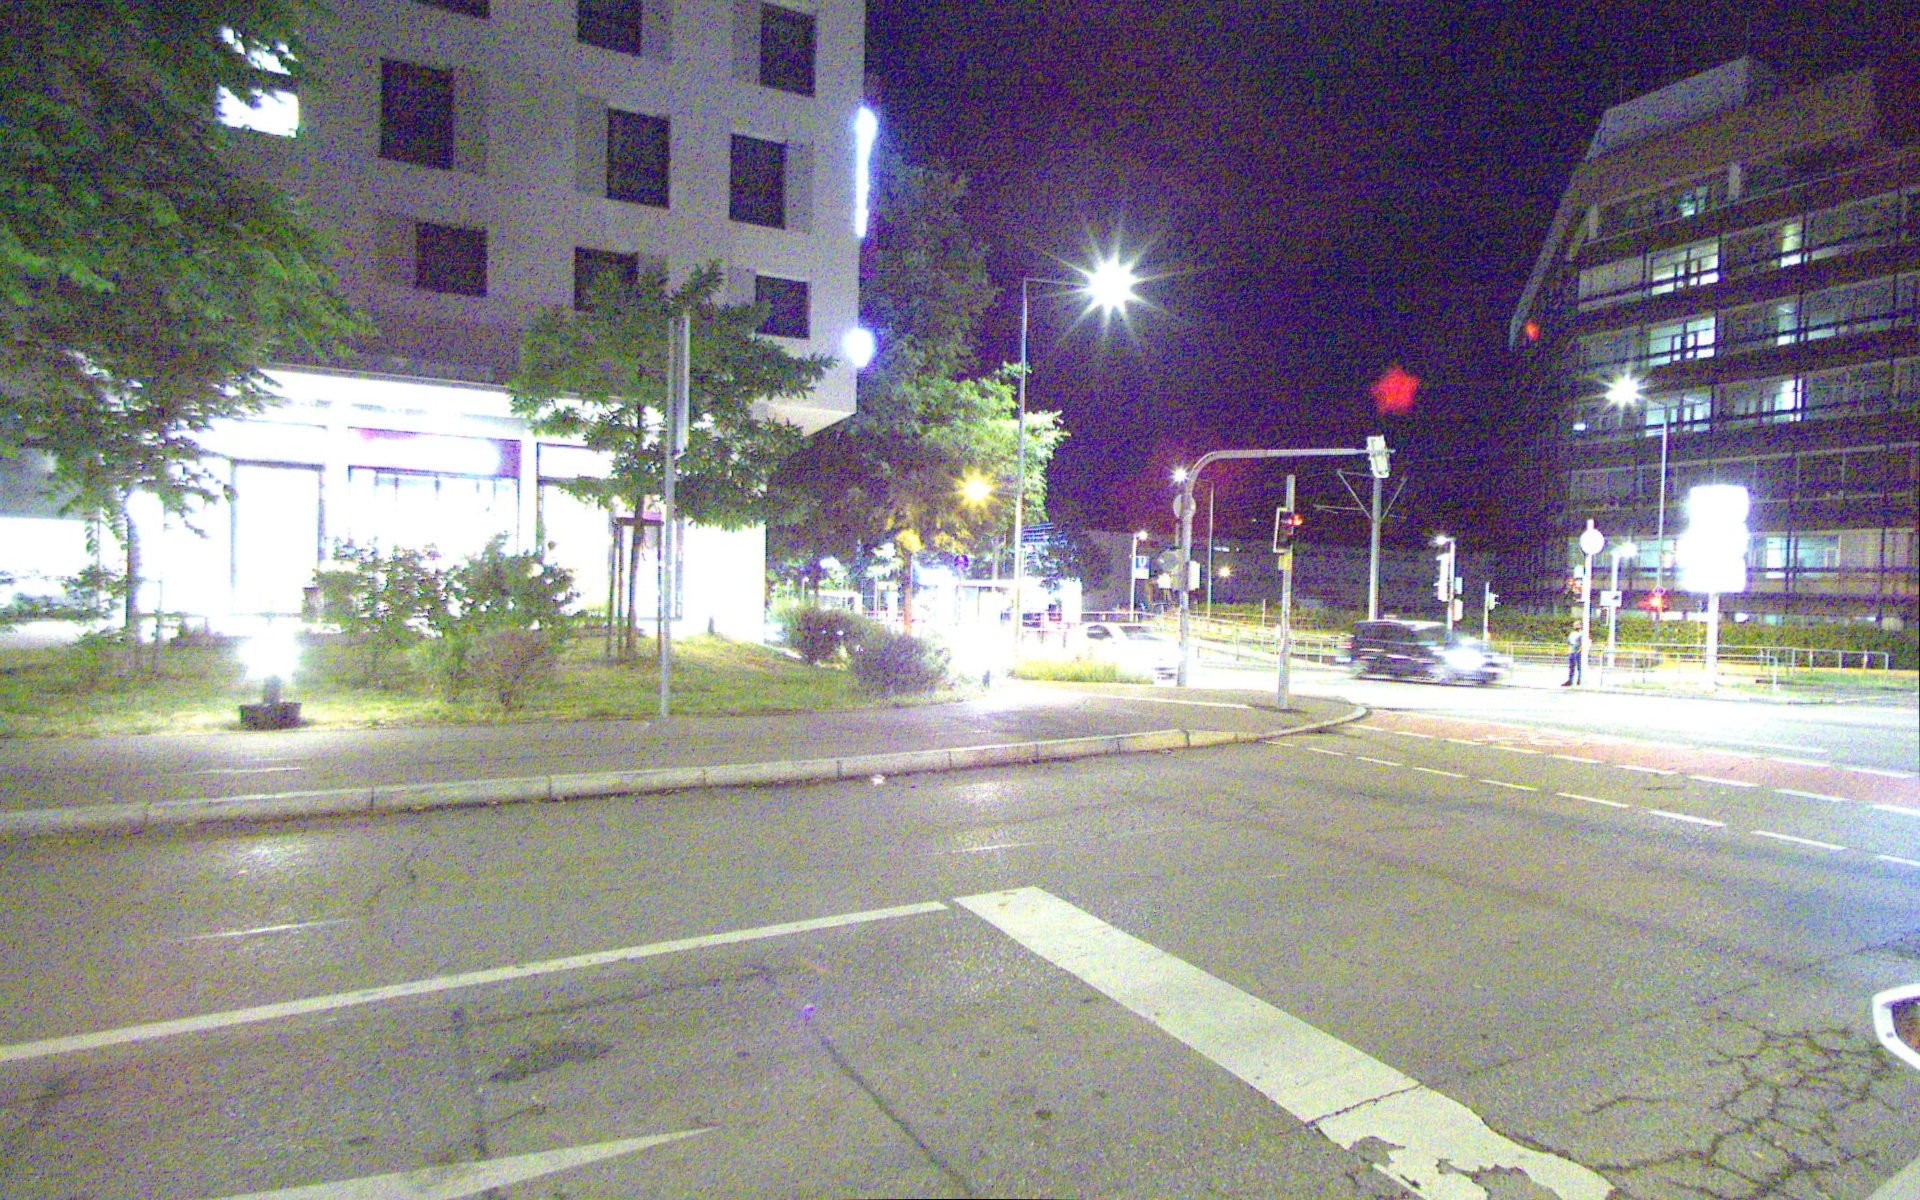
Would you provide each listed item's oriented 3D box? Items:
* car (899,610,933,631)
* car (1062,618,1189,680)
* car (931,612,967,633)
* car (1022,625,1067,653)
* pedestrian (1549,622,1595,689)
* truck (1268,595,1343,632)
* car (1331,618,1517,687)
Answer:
[{"bbox_3d":[-4.582,2.115,103.589,1.974,2.001,4.168,2,0,-26],"label":"car"},{"bbox_3d":[4.805,1.401,29.694,1.786,1.684,3.975,2,-2,-25],"label":"car"},{"bbox_3d":[-1.151,2.285,101.239,1.976,2.040,3.971,2,-3,-29],"label":"car"},{"bbox_3d":[6.451,3.000,77.023,1.970,2.040,3.982,2,-3,-20],"label":"car"},{"bbox_3d":[15.714,1.410,25.790,0.854,1.656,0.665,2,0,-34],"label":"pedestrian"},{"bbox_3d":[30.732,1.171,89.599,2.877,3.129,5.873,2,0,-28],"label":"truck"},{"bbox_3d":[12.403,1.359,27.176,1.839,1.681,4.431,2,-1,-26],"label":"car"}]
